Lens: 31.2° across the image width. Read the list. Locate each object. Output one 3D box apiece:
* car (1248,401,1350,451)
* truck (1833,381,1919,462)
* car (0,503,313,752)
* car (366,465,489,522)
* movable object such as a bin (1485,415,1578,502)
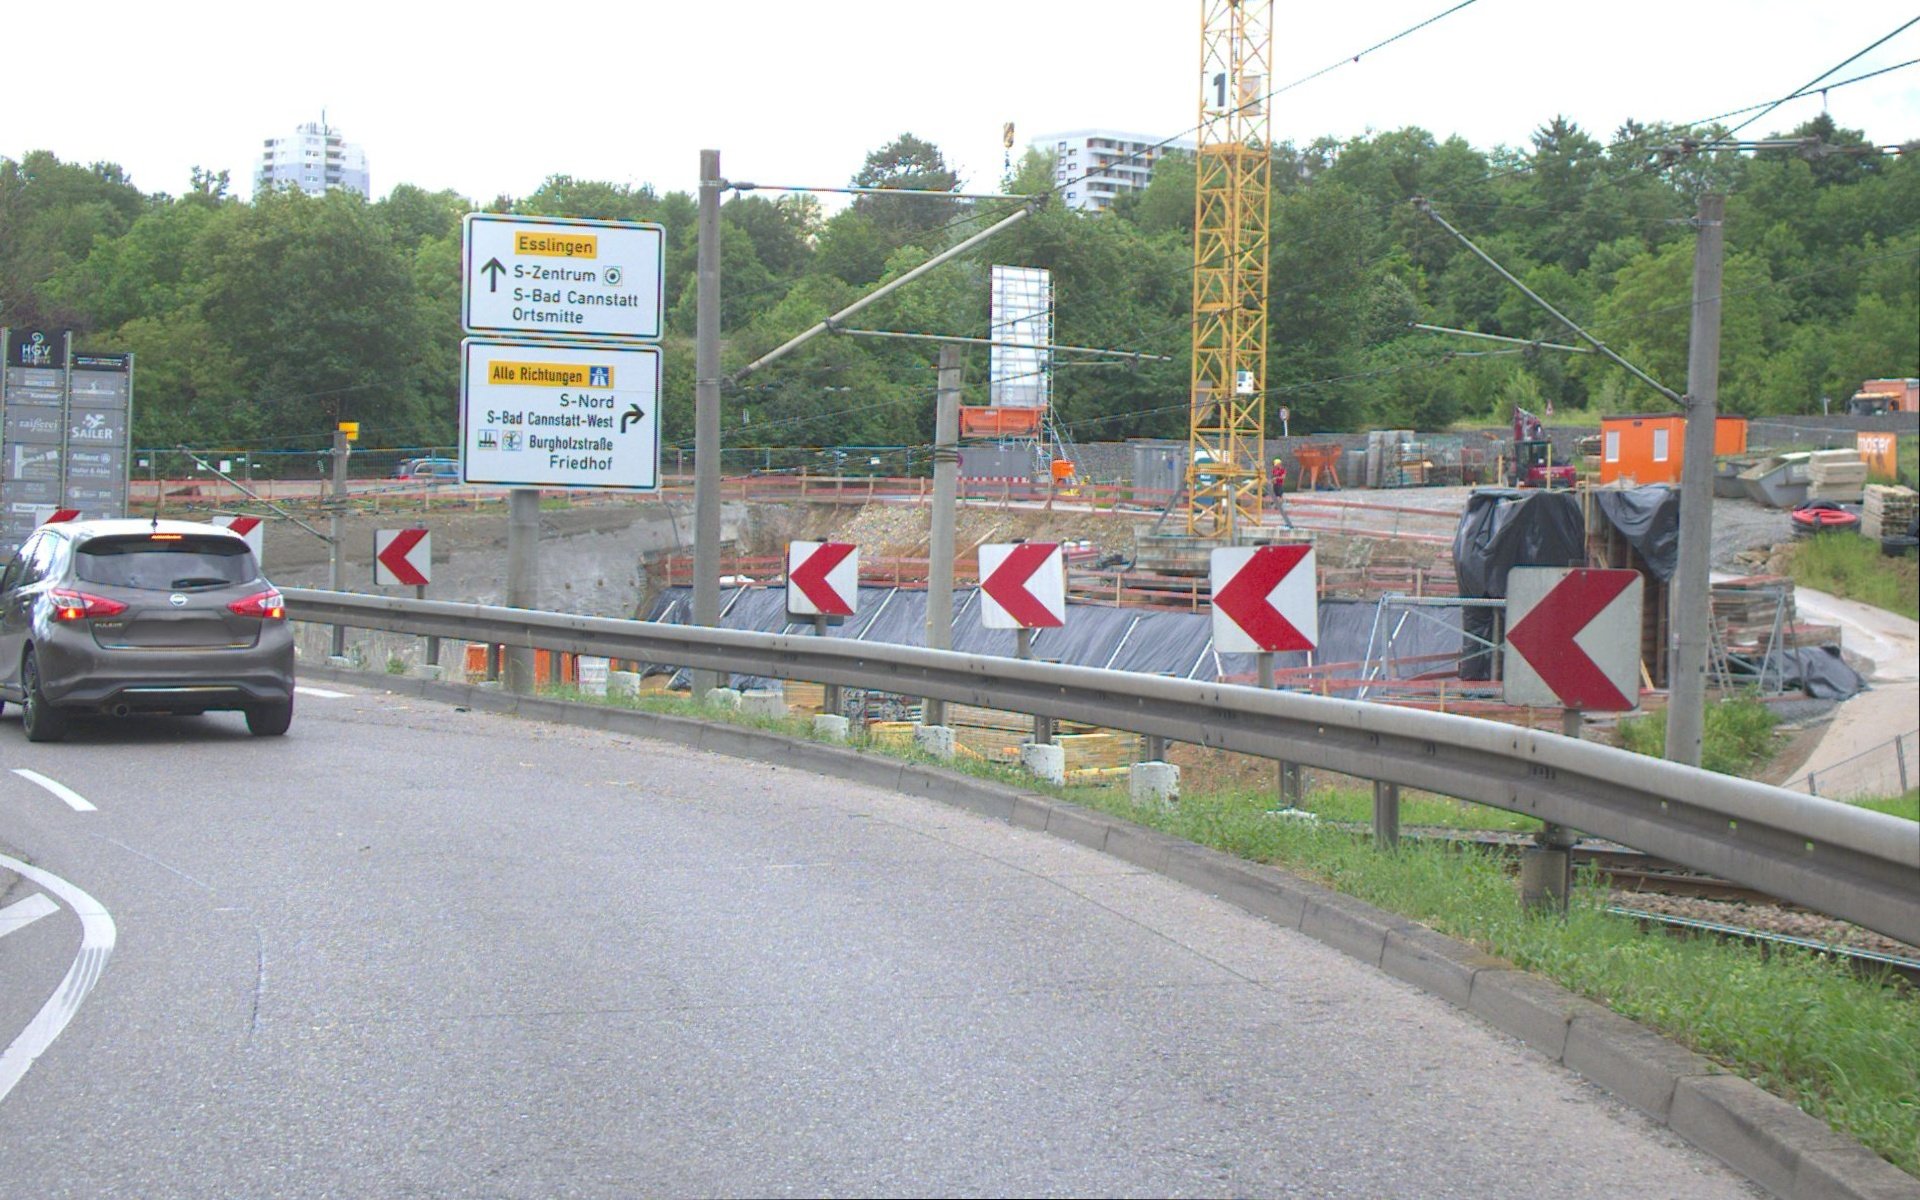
[{"bbox_3d":[14.473,-7.416,146.783,3.987,2.007,2.000,0,1,-34],"label":"car"},{"bbox_3d":[51.499,-9.587,185.879,9.764,4.206,3.120,-1,3,-40],"label":"truck"},{"bbox_3d":[-6.037,0.122,24.791,1.797,1.546,4.001,-1,3,-24],"label":"car"},{"bbox_3d":[-19.375,-3.869,125.142,3.989,2.007,1.999,-1,1,-44],"label":"car"},{"bbox_3d":[20.593,-5.093,124.015,1.835,3.066,2.800,0,1,-37],"label":"movable object such as a bin"}]
